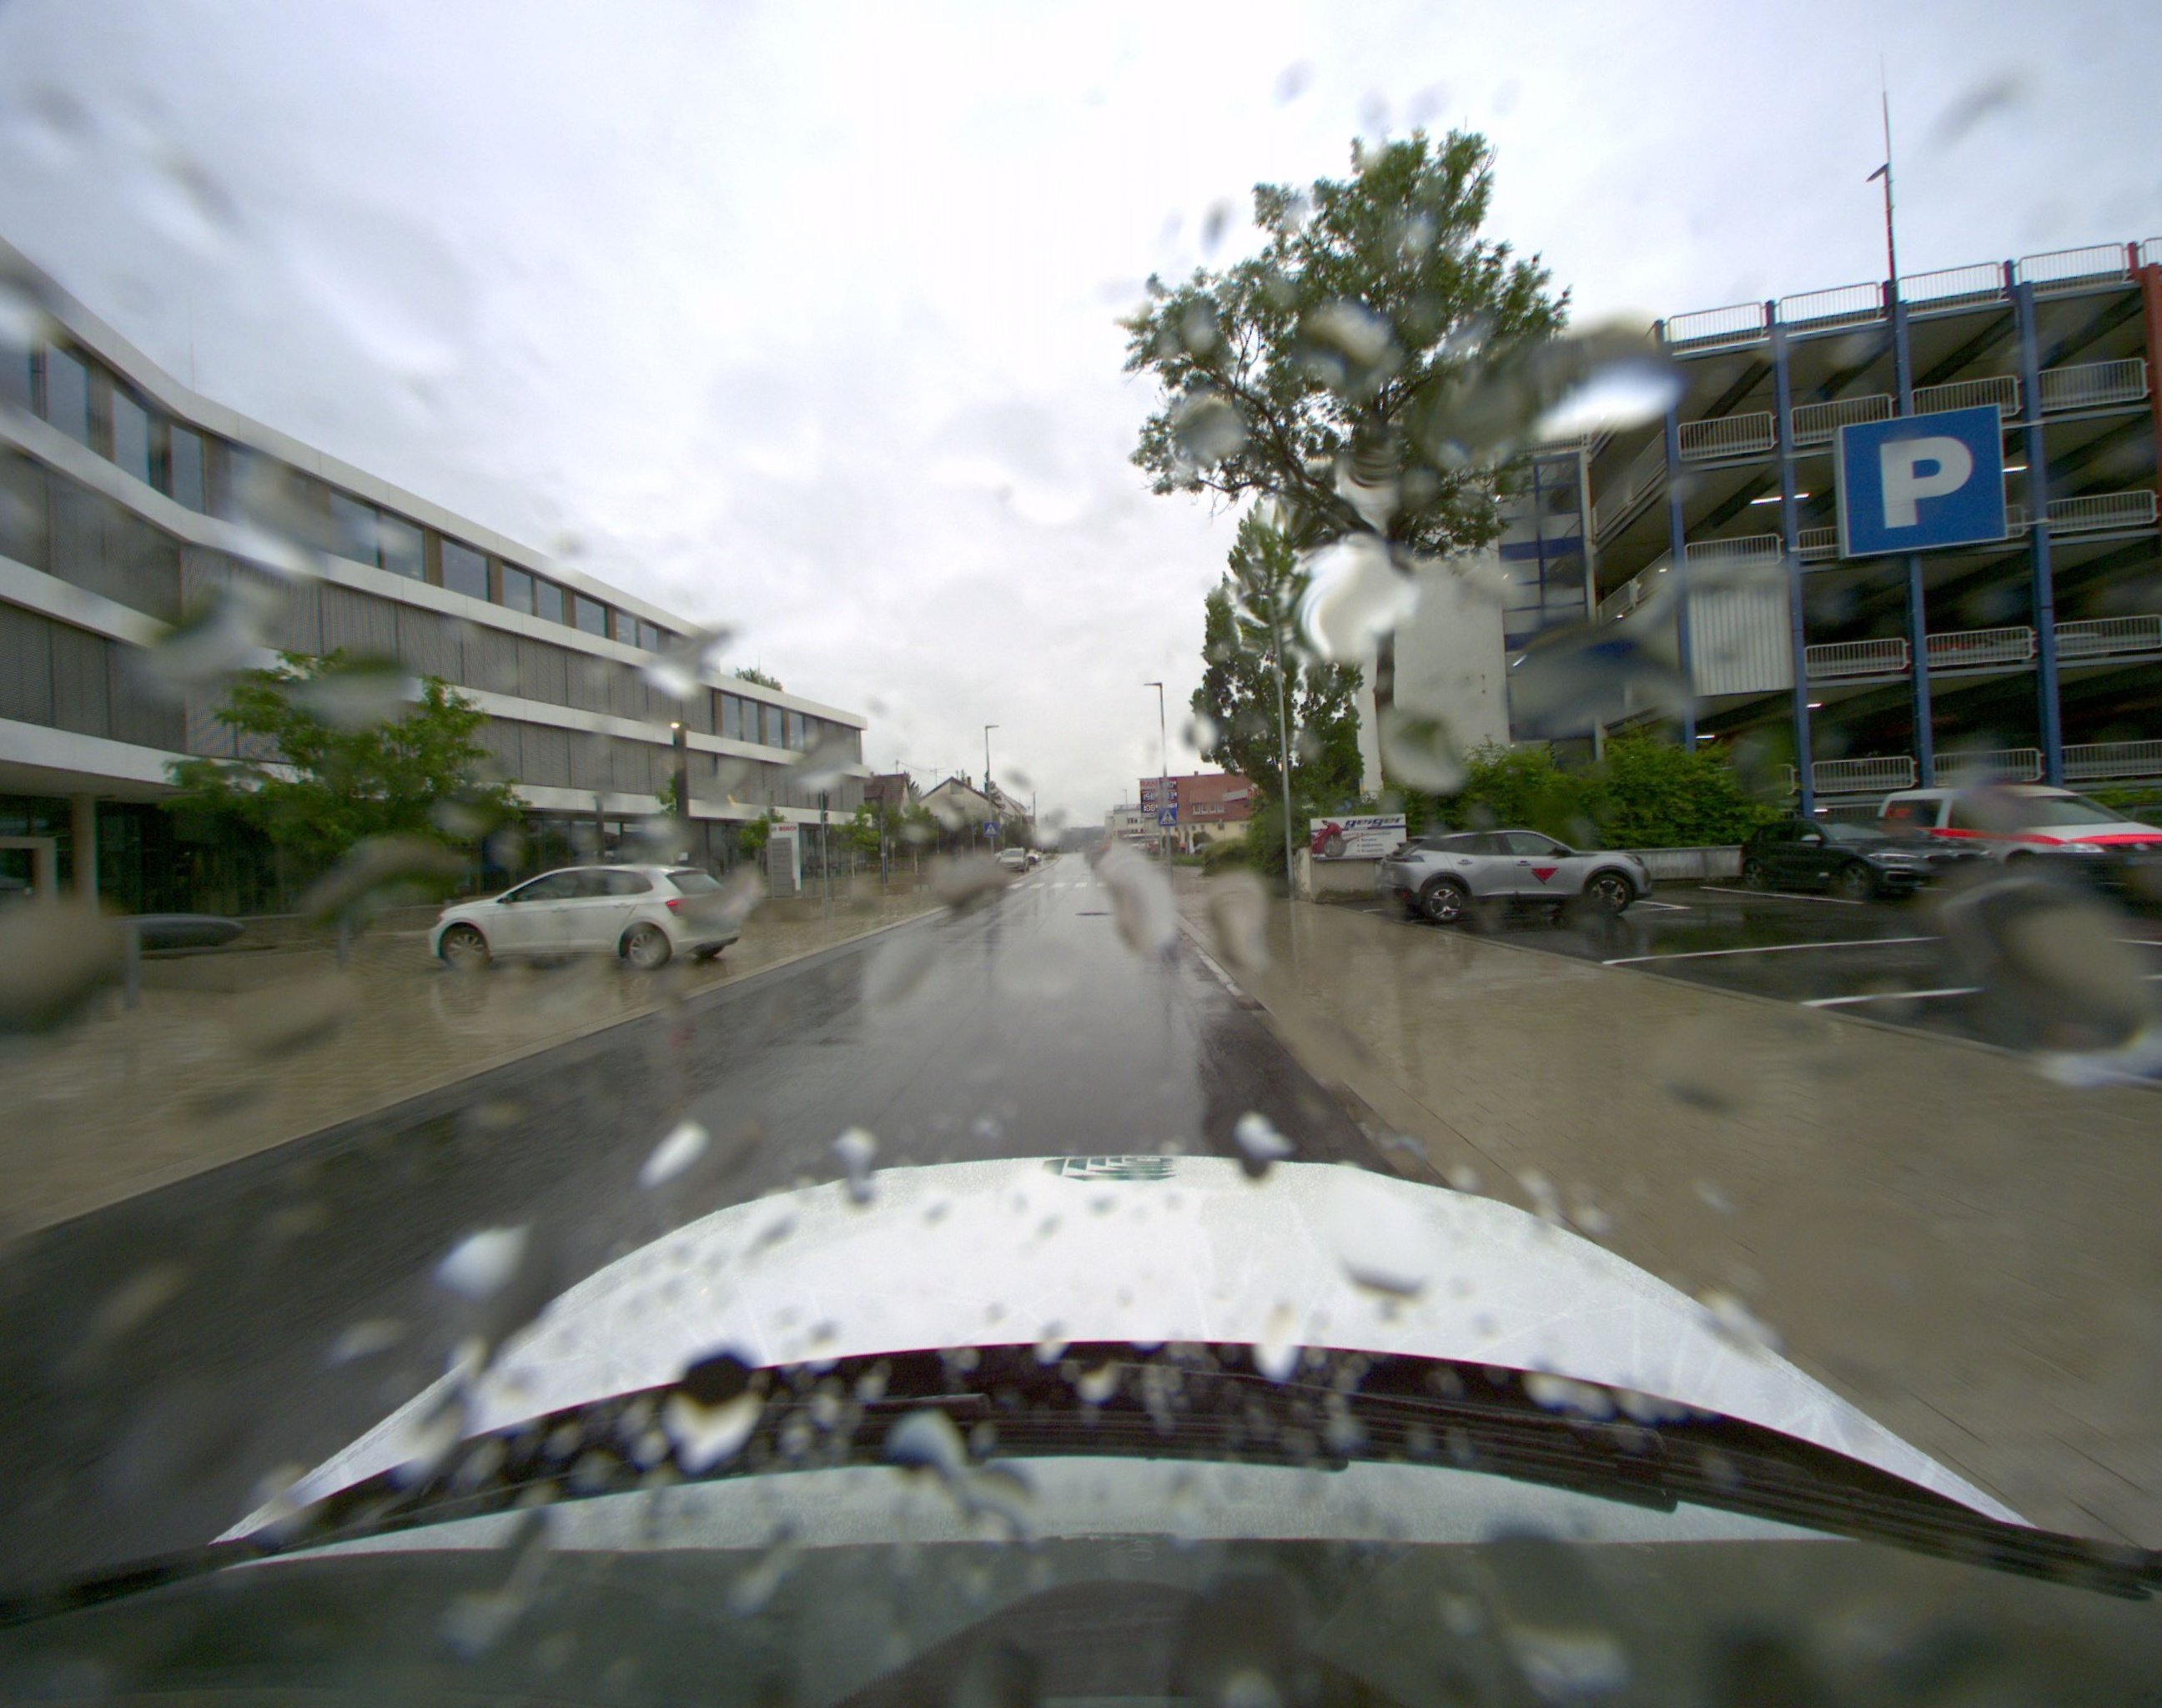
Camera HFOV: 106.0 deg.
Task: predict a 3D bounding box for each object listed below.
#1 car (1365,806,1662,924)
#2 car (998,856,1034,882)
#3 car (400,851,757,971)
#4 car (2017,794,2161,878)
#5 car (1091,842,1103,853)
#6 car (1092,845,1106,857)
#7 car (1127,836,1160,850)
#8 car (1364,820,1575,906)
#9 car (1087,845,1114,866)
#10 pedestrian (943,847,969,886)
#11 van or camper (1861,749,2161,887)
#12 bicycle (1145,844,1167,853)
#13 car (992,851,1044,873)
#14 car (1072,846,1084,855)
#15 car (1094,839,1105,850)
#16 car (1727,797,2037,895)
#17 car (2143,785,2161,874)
[{"bbox_3d":[7.448,0.198,14.489,4.180,1.649,2.006,-4,0,11],"label":"car"},{"bbox_3d":[-4.499,1.002,56.722,1.986,1.629,4.155,-3,1,1],"label":"car"},{"bbox_3d":[-7.068,0.756,11.762,3.912,1.423,1.899,-2,0,2],"label":"car"},{"bbox_3d":[18.758,-0.345,13.713,1.720,1.354,4.011,-4,0,9],"label":"car"},{"bbox_3d":[2.710,-1.003,135.231,1.986,1.706,4.001,1,-1,1],"label":"car"},{"bbox_3d":[2.720,-0.455,122.107,1.986,1.706,4.001,1,-1,1],"label":"car"},{"bbox_3d":[8.184,-1.430,106.233,4.101,1.706,1.787,1,-1,-2],"label":"car"},{"bbox_3d":[8.008,0.189,17.106,3.598,1.494,1.812,-4,0,10],"label":"car"},{"bbox_3d":[1.483,0.139,63.809,1.942,1.556,3.998,1,-1,-1],"label":"car"},{"bbox_3d":[-5.699,0.539,37.057,1.010,1.724,0.772,-2,0,-2],"label":"pedestrian"},{"bbox_3d":[16.517,-0.579,14.423,1.825,2.036,4.477,-2,0,13],"label":"van or camper"},{"bbox_3d":[9.133,-0.625,99.597,0.672,1.067,3.594,2,-2,-30],"label":"bicycle"},{"bbox_3d":[-6.075,0.778,79.255,4.731,2.014,2.002,1,-1,4],"label":"car"},{"bbox_3d":[-0.551,-0.703,160.173,2.146,1.706,4.001,1,-1,1],"label":"car"},{"bbox_3d":[2.945,-1.485,128.863,1.776,1.706,4.001,1,-1,1],"label":"car"},{"bbox_3d":[14.055,-0.129,14.727,1.921,1.442,4.218,-2,0,10],"label":"car"},{"bbox_3d":[20.798,-0.481,13.482,1.718,1.679,4.015,-4,0,14],"label":"car"}]
